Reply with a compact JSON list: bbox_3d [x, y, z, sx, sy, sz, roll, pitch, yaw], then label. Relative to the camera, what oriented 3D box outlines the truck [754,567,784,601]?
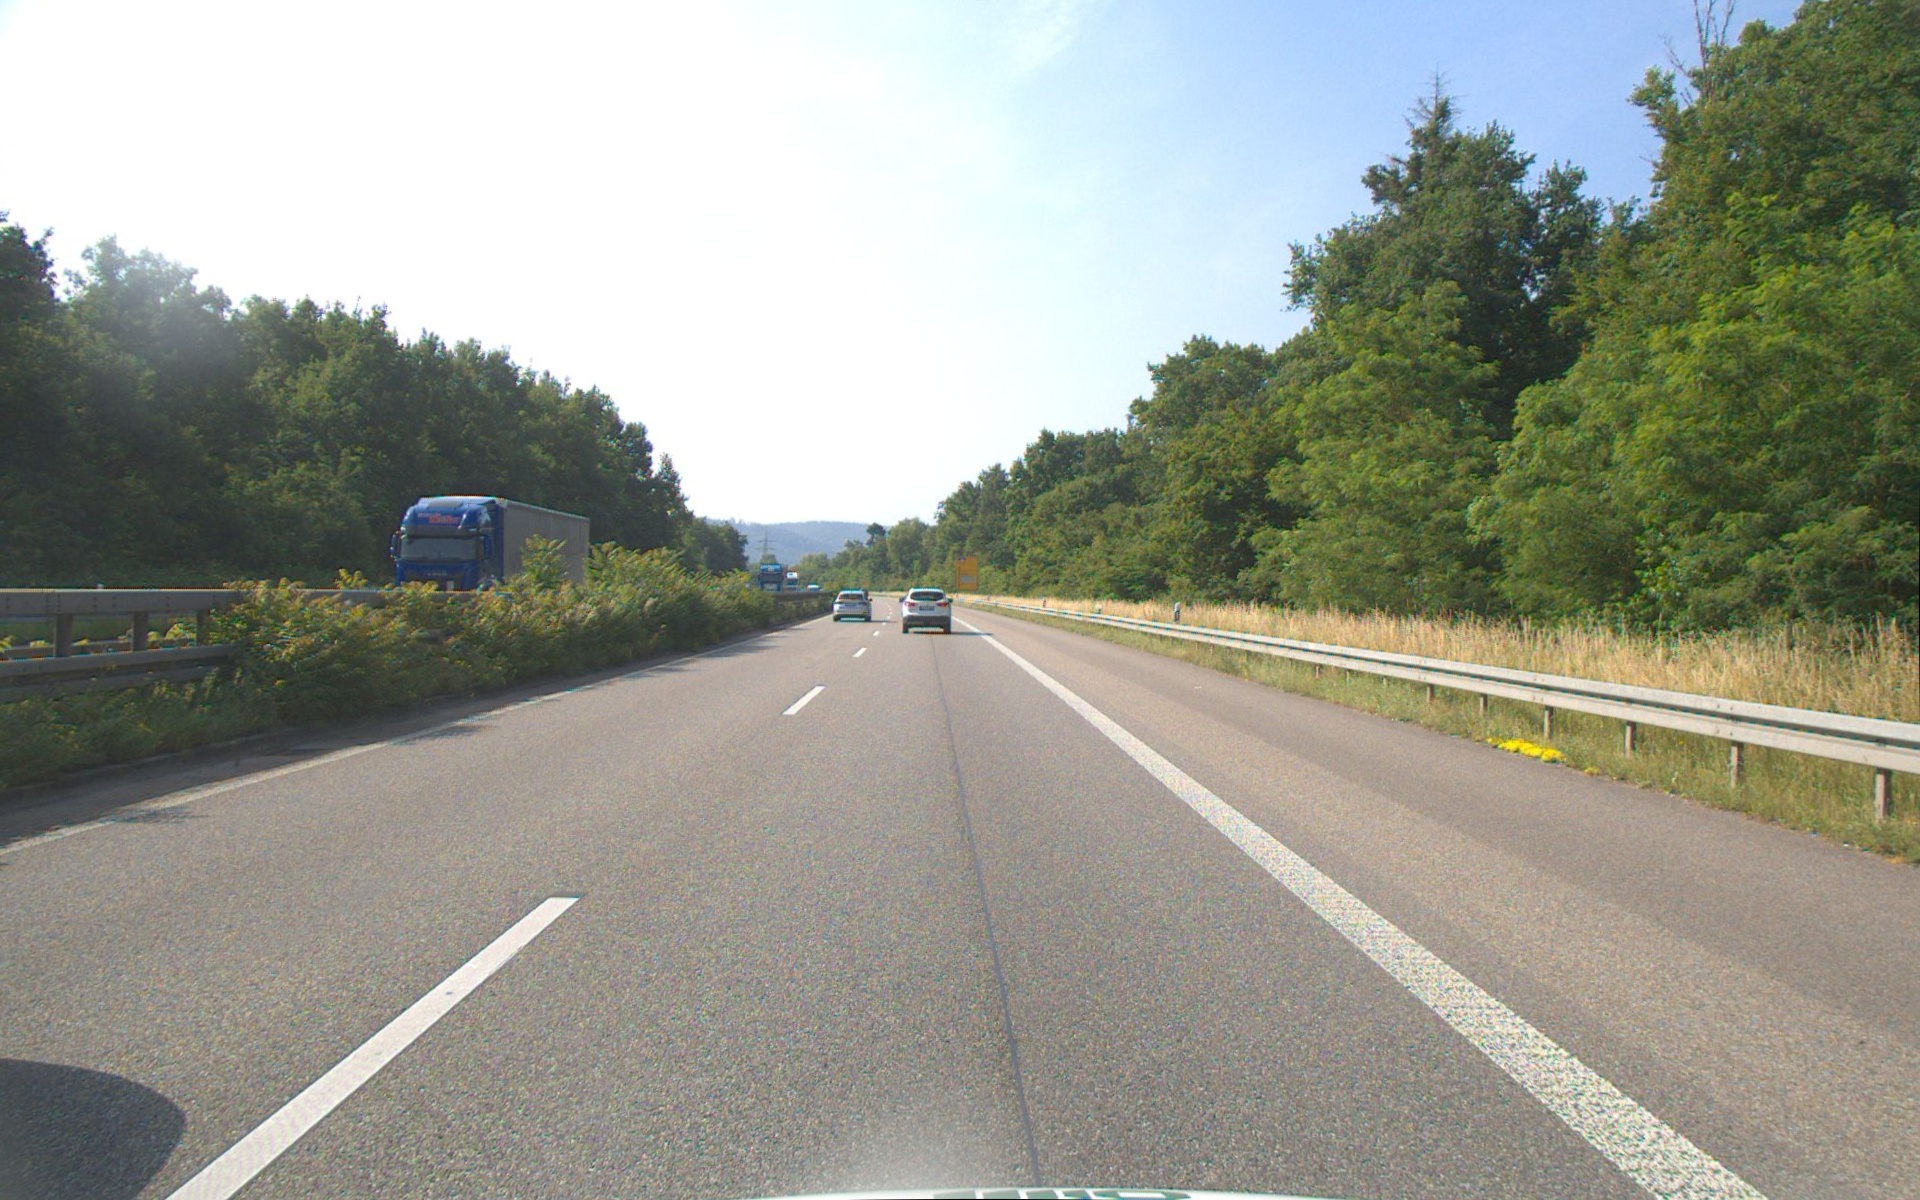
[{"bbox_3d":[-22.383,-1.822,194.191,2.746,3.835,8.471,1,0,-3],"label":"truck"}]

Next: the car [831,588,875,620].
[{"bbox_3d":[-5.195,0.168,81.085,1.755,1.463,5.279,0,0,1],"label":"car"}]

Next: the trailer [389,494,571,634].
[{"bbox_3d":[-15.446,-1.101,54.348,2.774,4.068,11.431,1,0,-1],"label":"trailer"}]

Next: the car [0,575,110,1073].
[{"bbox_3d":[-3.717,0.675,2.995,1.714,1.511,5.262,1,0,-1],"label":"car"}]

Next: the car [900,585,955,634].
[{"bbox_3d":[-1.183,0.325,60.419,1.835,1.613,3.999,3,1,-1],"label":"car"}]

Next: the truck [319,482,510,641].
[{"bbox_3d":[-15.313,-1.023,47.161,2.728,4.068,8.414,1,0,-1],"label":"truck"}]
